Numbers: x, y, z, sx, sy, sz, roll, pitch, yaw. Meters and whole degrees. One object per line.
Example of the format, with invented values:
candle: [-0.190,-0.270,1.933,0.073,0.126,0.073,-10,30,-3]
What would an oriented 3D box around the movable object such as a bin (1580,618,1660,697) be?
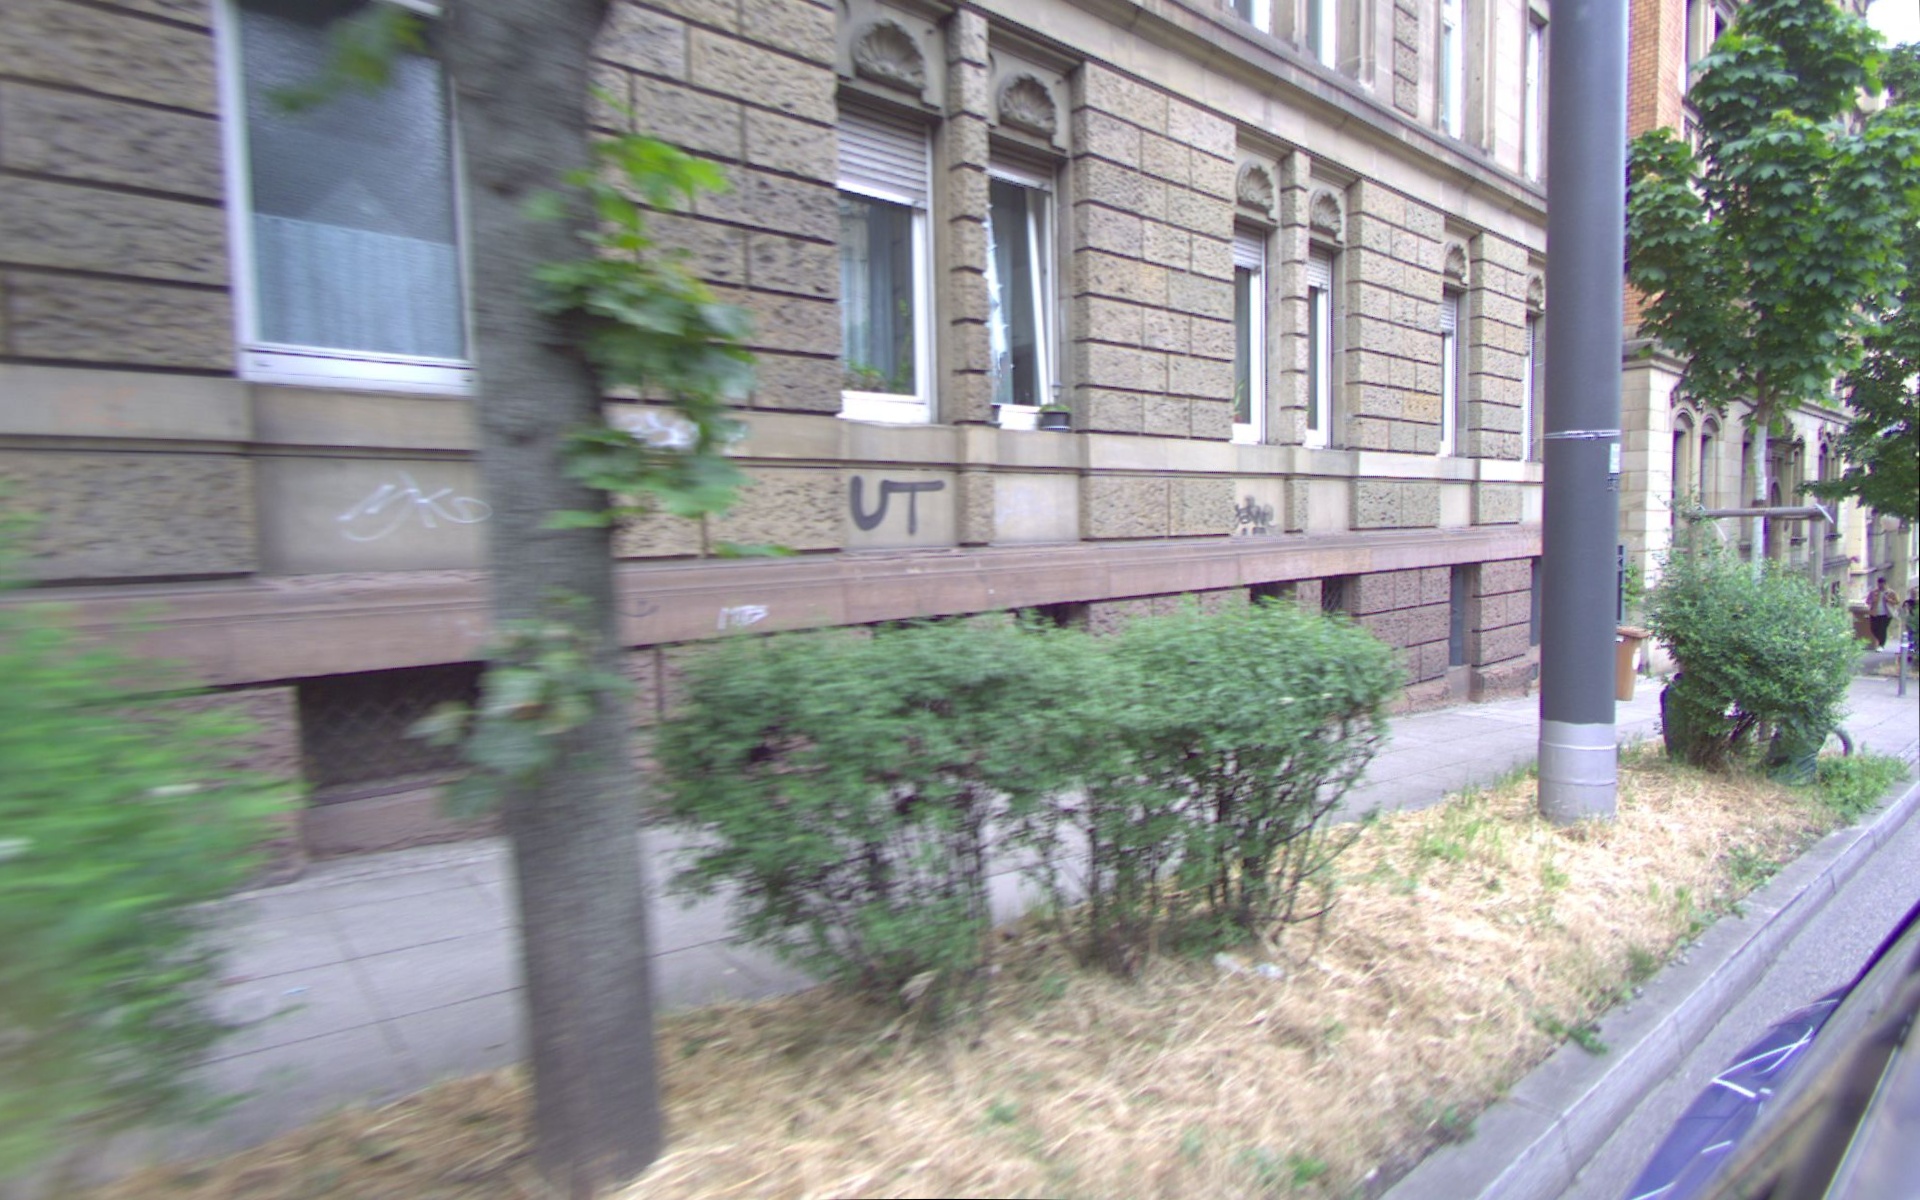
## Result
movable object such as a bin: [8.354,0.715,12.814,0.572,0.908,0.672,3,2,-42]

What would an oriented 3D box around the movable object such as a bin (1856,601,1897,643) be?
movable object such as a bin: [23.684,0.569,26.148,0.572,1.028,0.672,3,2,-42]

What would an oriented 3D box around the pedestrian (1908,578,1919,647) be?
pedestrian: [23.288,0.301,24.211,1.195,1.593,0.687,-3,5,-41]

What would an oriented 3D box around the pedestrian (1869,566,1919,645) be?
pedestrian: [22.984,0.120,24.909,1.102,1.851,0.687,-3,5,-41]
